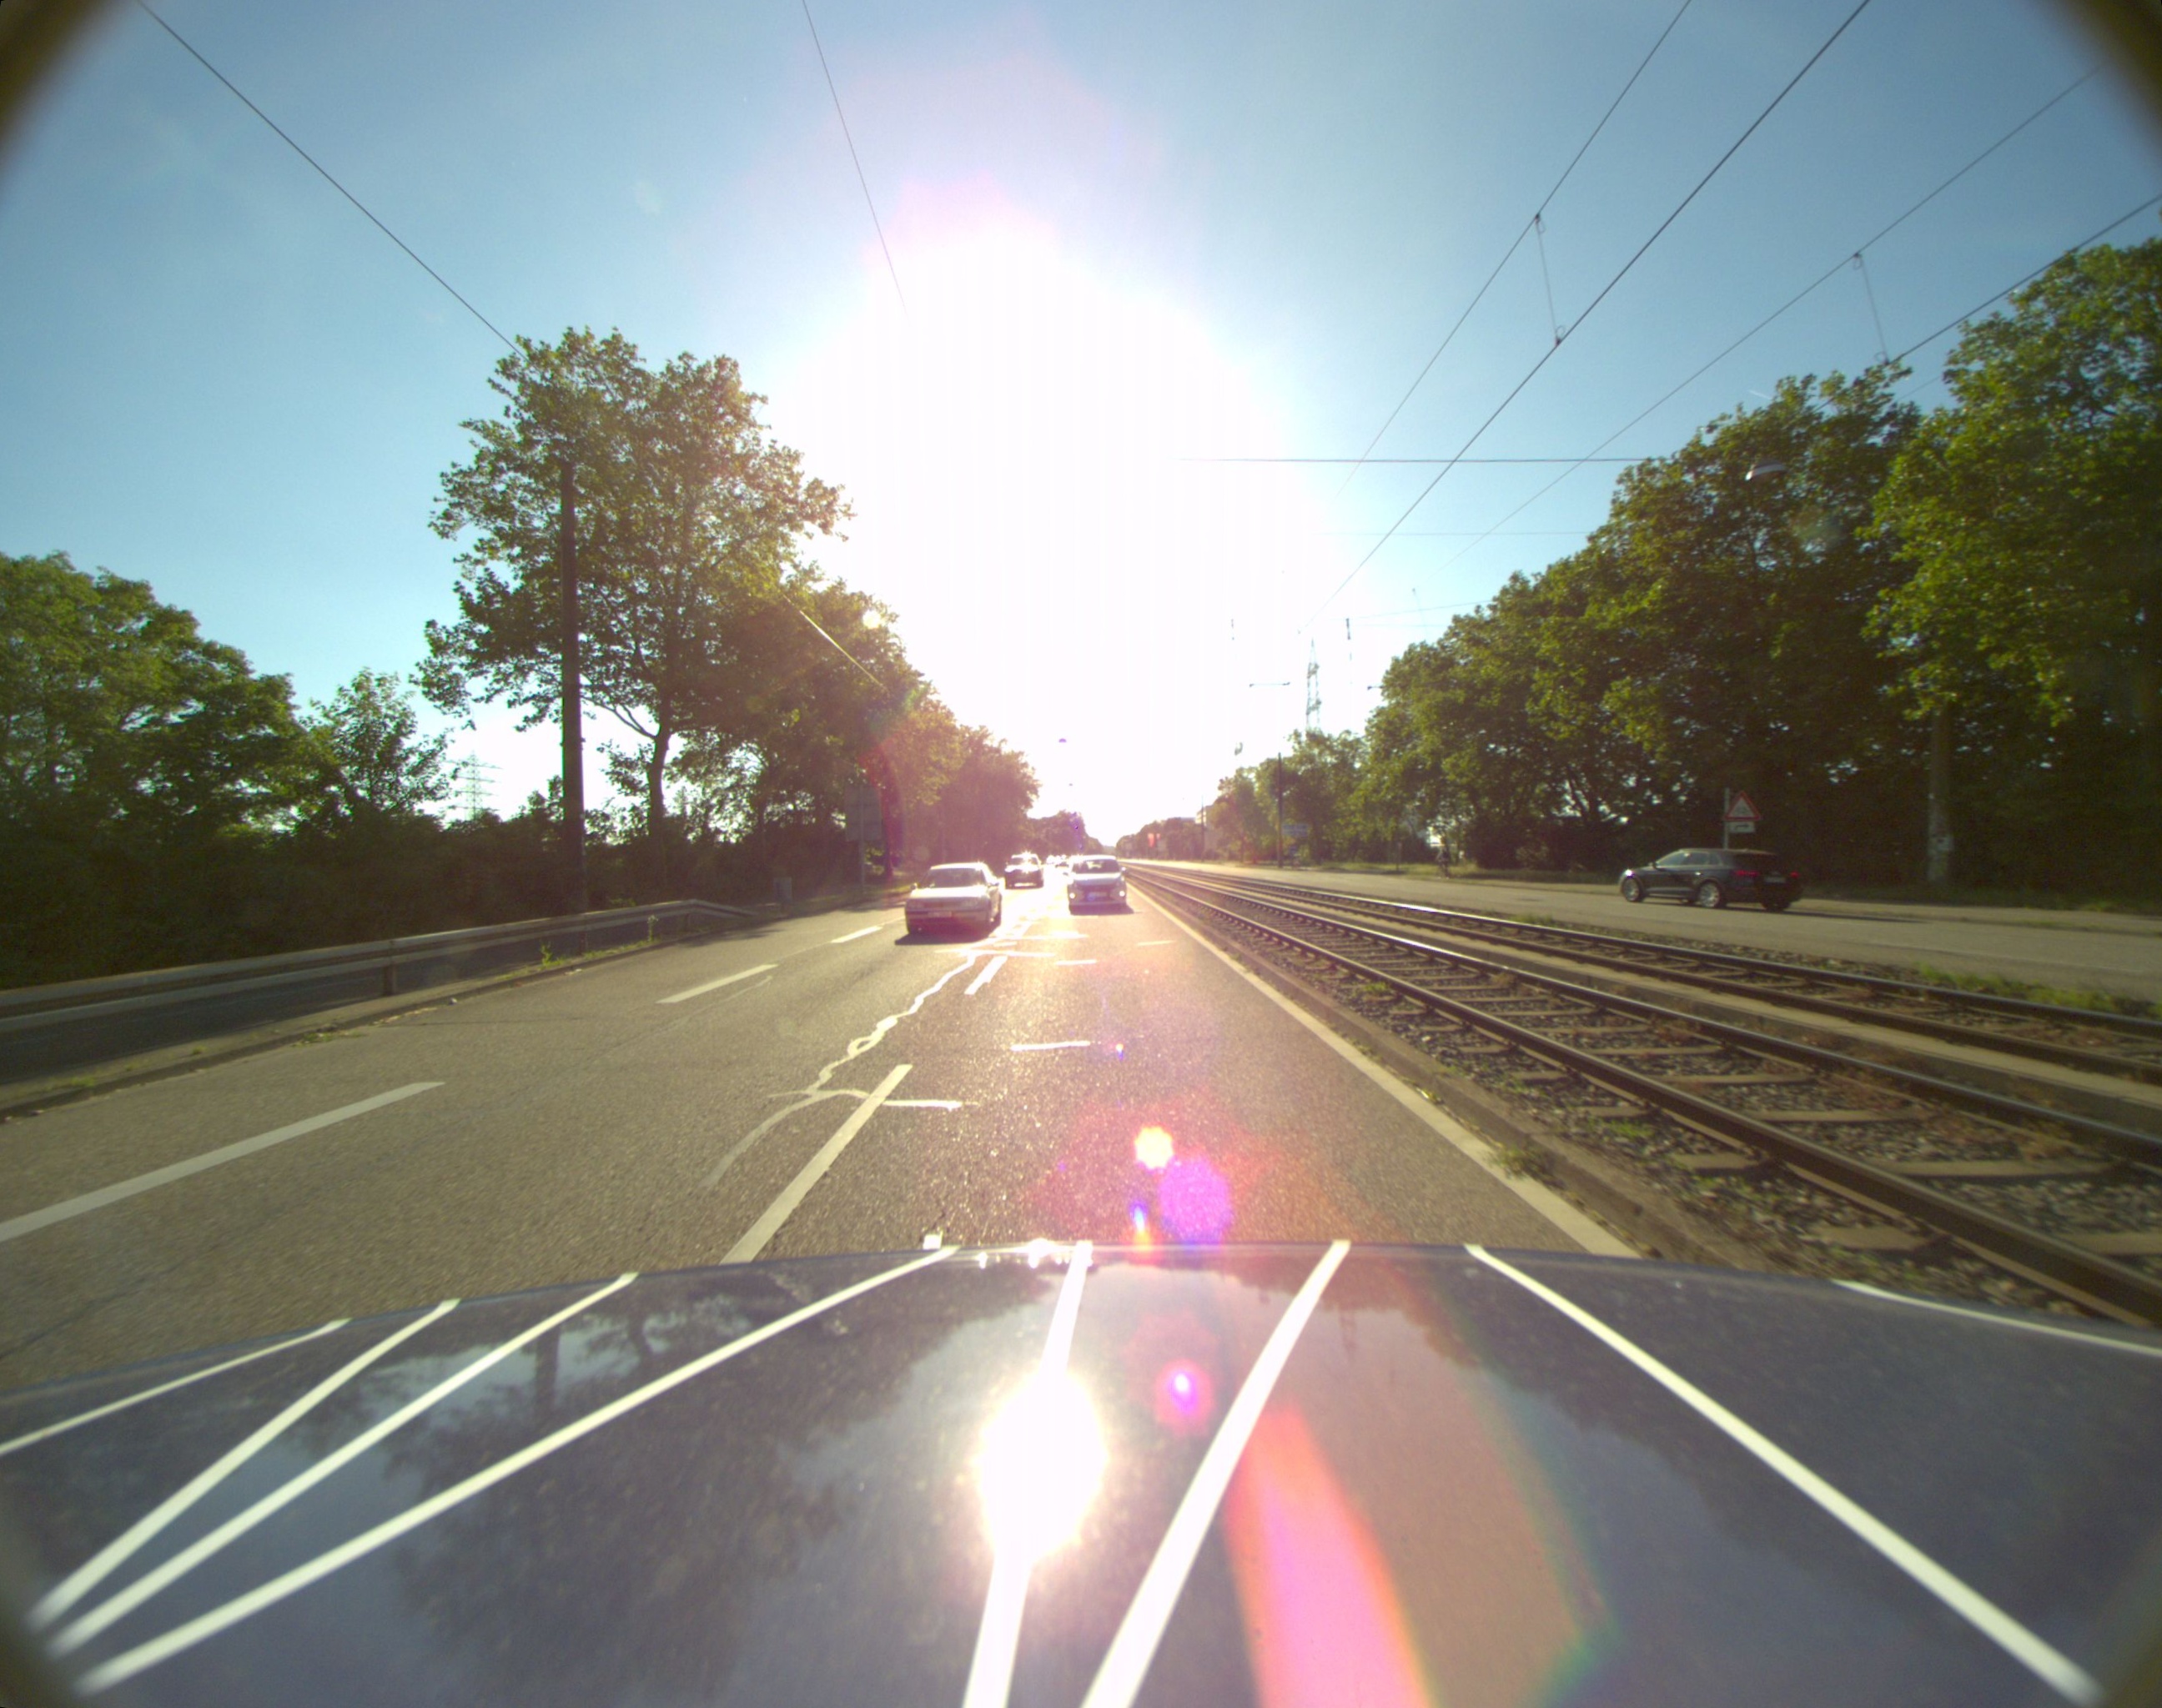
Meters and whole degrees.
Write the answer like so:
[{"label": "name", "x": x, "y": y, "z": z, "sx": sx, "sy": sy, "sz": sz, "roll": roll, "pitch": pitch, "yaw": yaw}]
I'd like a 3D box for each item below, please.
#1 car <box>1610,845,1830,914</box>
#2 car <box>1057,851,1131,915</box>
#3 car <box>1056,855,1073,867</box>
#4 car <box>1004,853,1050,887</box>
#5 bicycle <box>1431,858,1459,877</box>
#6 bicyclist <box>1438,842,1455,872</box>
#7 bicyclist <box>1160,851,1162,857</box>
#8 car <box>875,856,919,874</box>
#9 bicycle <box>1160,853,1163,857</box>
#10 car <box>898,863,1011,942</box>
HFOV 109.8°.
[{"label": "car", "x": 17.502, "y": 0.612, "z": 21.225, "sx": 1.999, "sy": 1.676, "sz": 4.794, "roll": 0, "pitch": 1, "yaw": -1}, {"label": "car", "x": 0.423, "y": 0.769, "z": 22.485, "sx": 1.881, "sy": 1.591, "sz": 4.417, "roll": -3, "pitch": 1, "yaw": 2}, {"label": "car", "x": -2.078, "y": 0.864, "z": 95.444, "sx": 1.881, "sy": 1.449, "sz": 4.417, "roll": -1, "pitch": 1, "yaw": 2}, {"label": "car", "x": -2.771, "y": 0.782, "z": 39.907, "sx": 1.881, "sy": 1.591, "sz": 4.417, "roll": -1, "pitch": 1, "yaw": 2}, {"label": "bicycle", "x": 20.391, "y": 0.744, "z": 42.593, "sx": 0.552, "sy": 0.980, "sz": 2.239, "roll": -3, "pitch": 1, "yaw": 3}, {"label": "bicyclist", "x": 20.510, "y": 0.163, "z": 42.694, "sx": 0.551, "sy": 1.680, "sz": 0.820, "roll": -3, "pitch": 1, "yaw": 5}, {"label": "bicyclist", "x": 22.297, "y": 0.040, "z": 211.409, "sx": 0.591, "sy": 1.601, "sz": 0.967, "roll": -1, "pitch": 1, "yaw": 0}, {"label": "car", "x": -17.696, "y": 1.061, "z": 72.961, "sx": 4.002, "sy": 1.655, "sz": 1.888, "roll": -1, "pitch": 1, "yaw": -16}, {"label": "bicycle", "x": 22.296, "y": 0.351, "z": 211.536, "sx": 0.591, "sy": 1.016, "sz": 2.185, "roll": -1, "pitch": 1, "yaw": 0}, {"label": "car", "x": -2.691, "y": 0.978, "z": 17.027, "sx": 1.725, "sy": 1.437, "sz": 4.001, "roll": -1, "pitch": 1, "yaw": 2}]
